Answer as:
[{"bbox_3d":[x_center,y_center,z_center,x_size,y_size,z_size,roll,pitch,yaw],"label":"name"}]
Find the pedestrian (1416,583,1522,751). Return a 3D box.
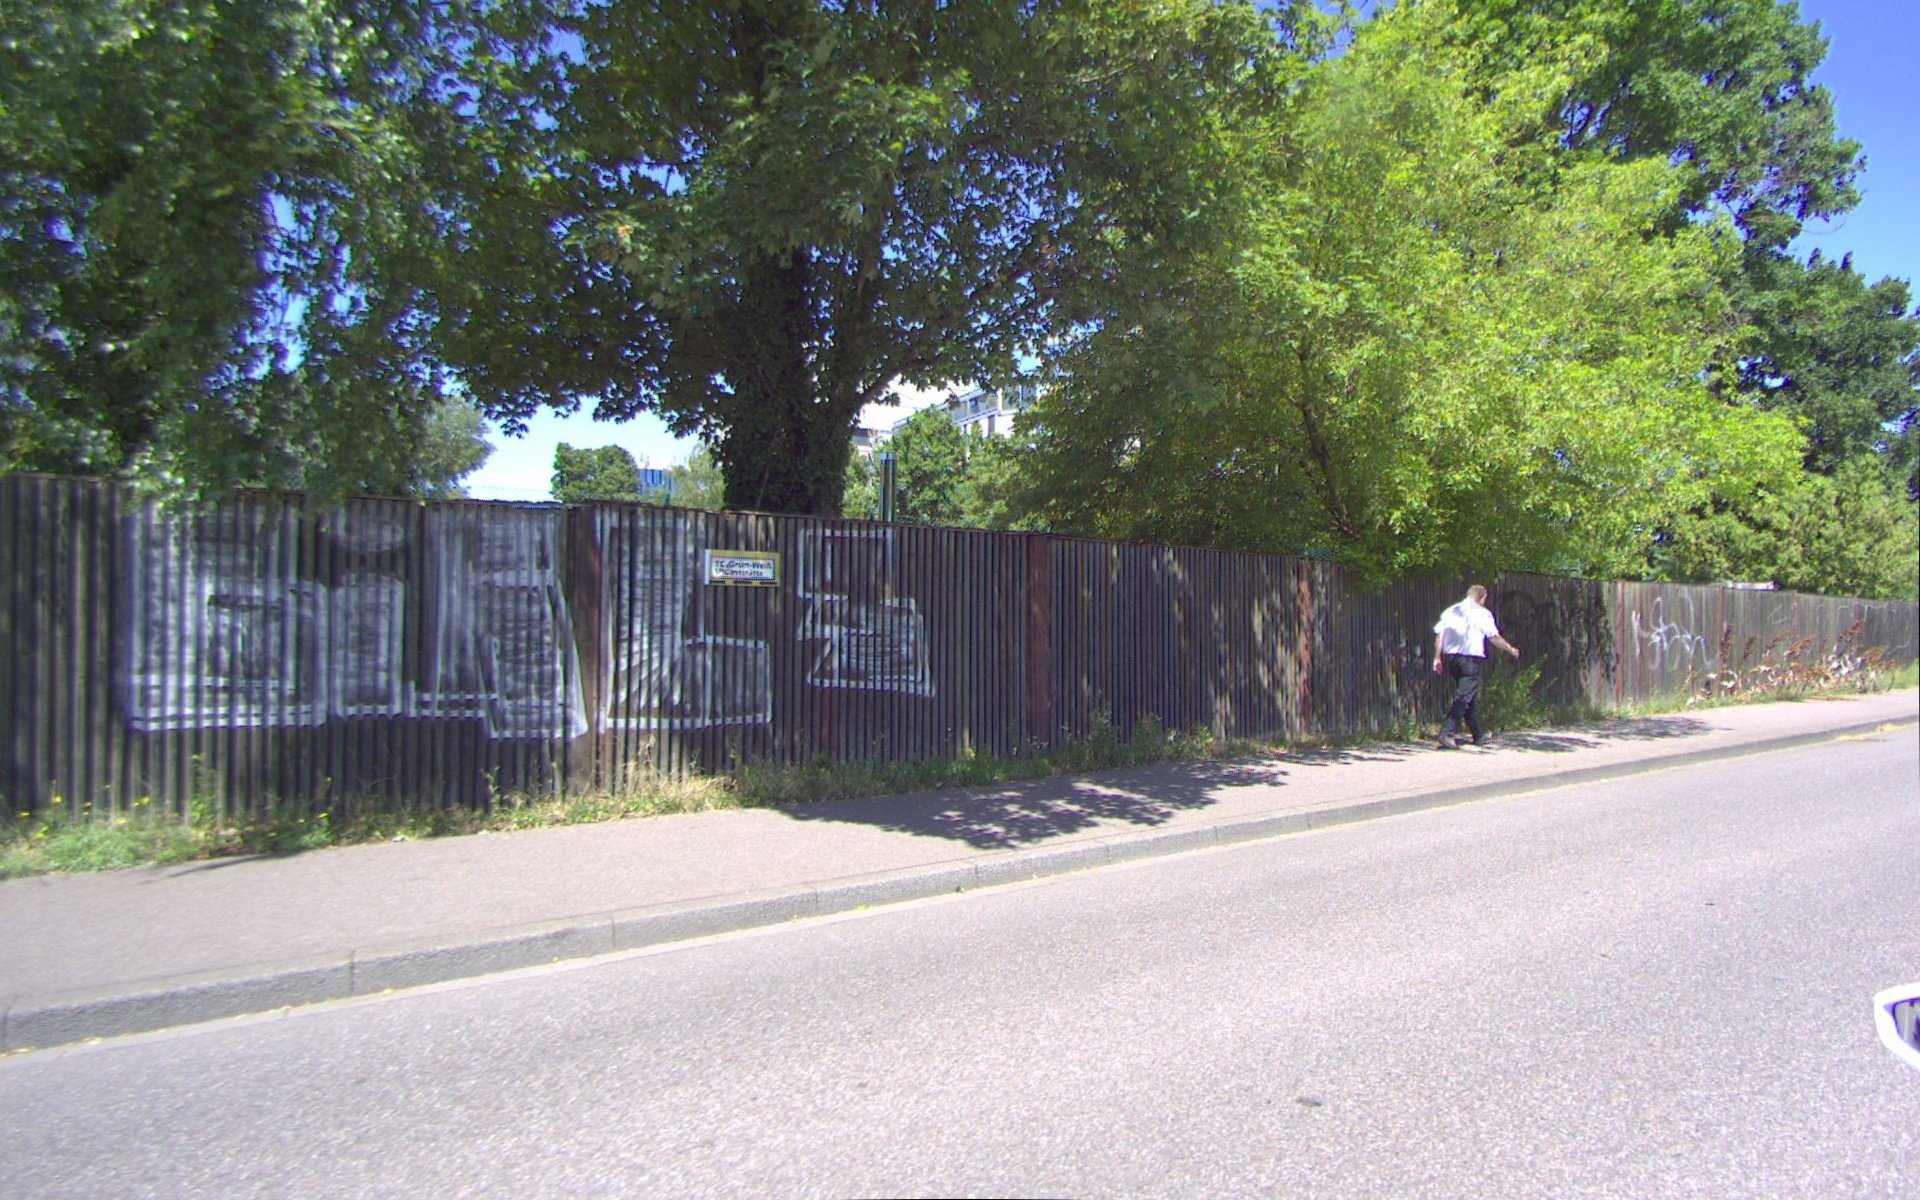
[{"bbox_3d":[5.564,0.708,10.987,0.809,1.748,0.718,1,-1,-34],"label":"pedestrian"}]
